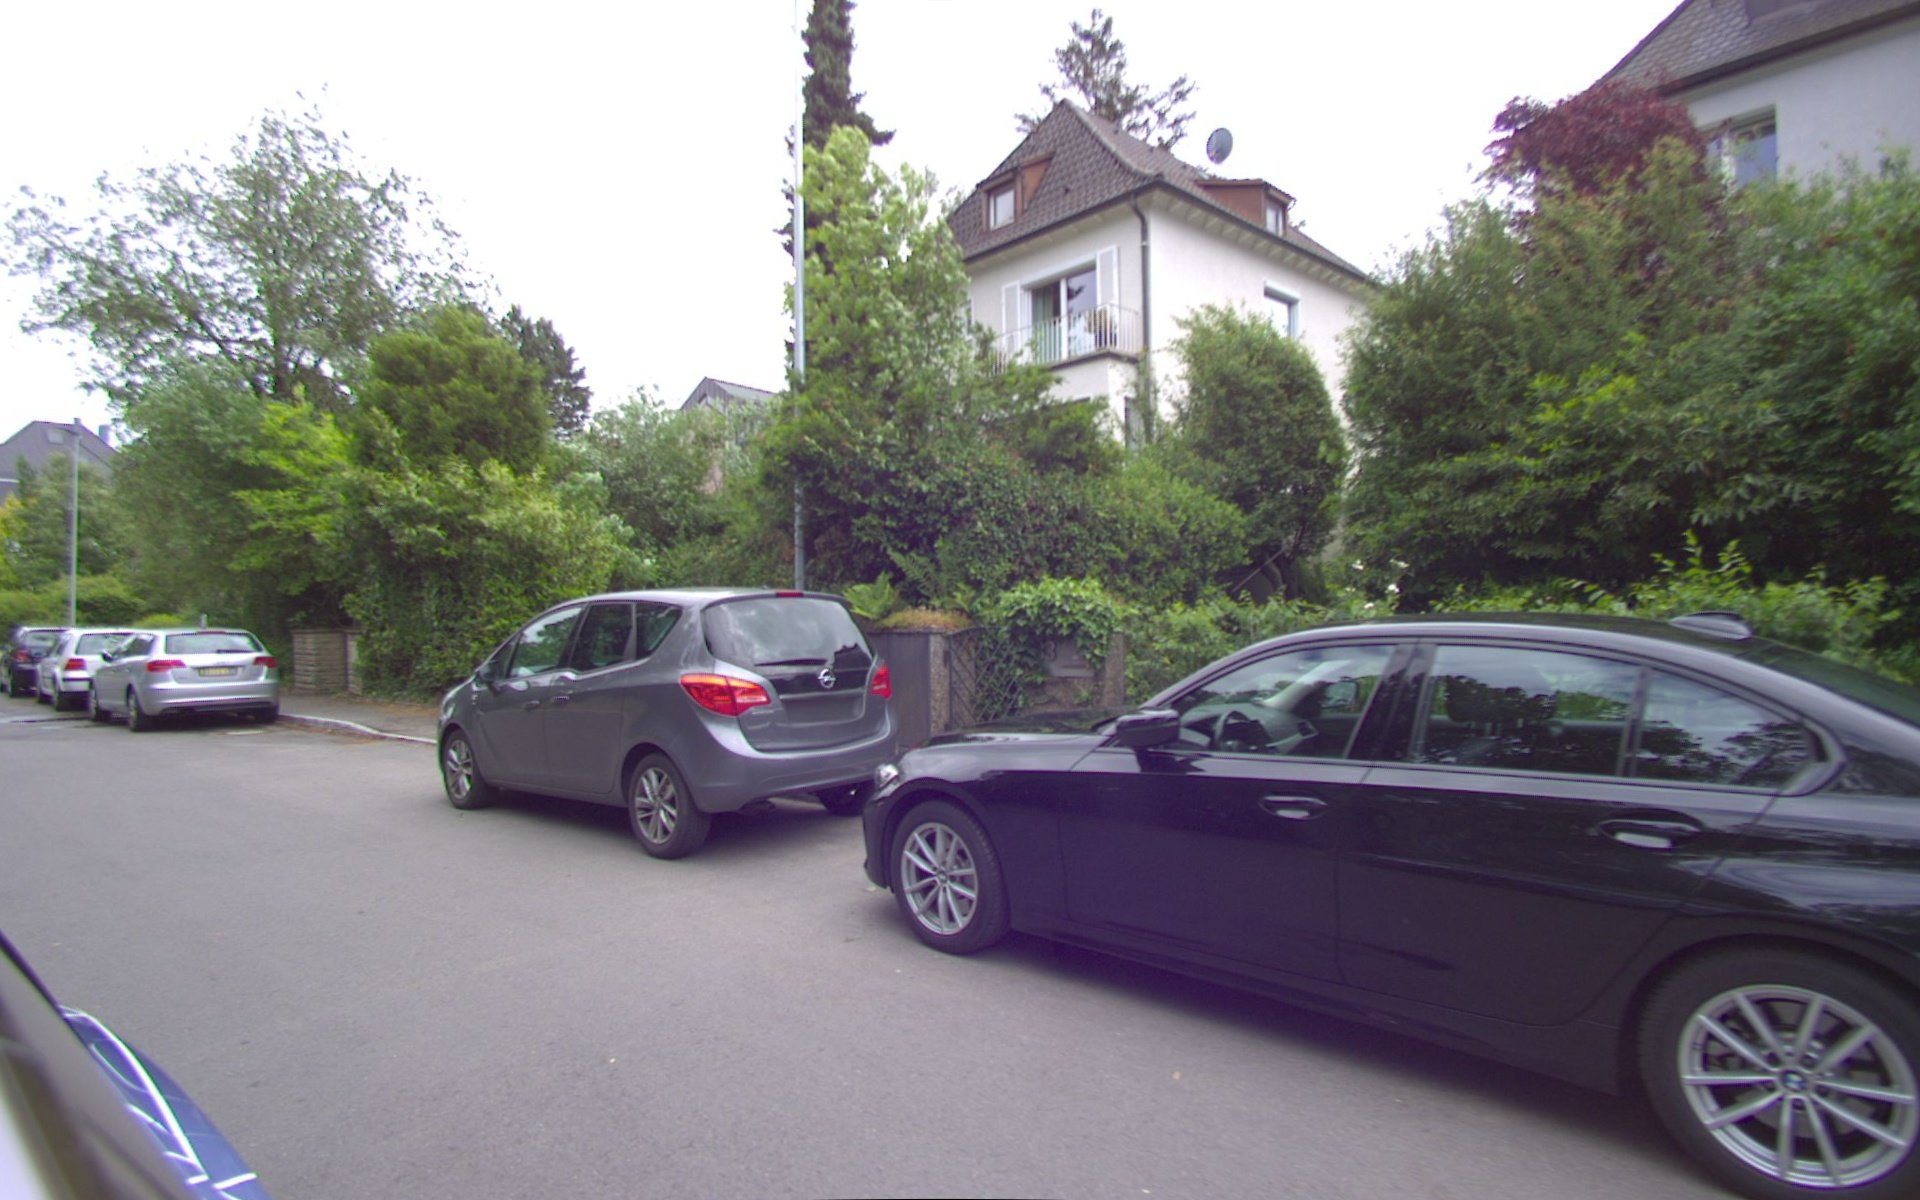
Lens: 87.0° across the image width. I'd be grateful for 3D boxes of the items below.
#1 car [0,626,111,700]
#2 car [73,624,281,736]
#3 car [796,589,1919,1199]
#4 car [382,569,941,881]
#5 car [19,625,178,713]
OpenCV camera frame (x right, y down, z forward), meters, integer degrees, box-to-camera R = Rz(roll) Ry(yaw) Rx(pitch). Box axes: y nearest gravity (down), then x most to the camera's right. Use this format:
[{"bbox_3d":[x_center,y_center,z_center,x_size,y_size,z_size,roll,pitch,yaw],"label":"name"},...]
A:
[{"bbox_3d":[-19.869,1.299,22.005,3.968,1.461,1.605,-2,-2,42],"label":"car"},{"bbox_3d":[-11.851,1.104,15.228,4.089,1.461,1.606,-1,-2,40],"label":"car"},{"bbox_3d":[1.602,0.716,3.799,4.898,1.423,1.735,-2,0,43],"label":"car"},{"bbox_3d":[-2.430,0.692,7.470,4.564,1.644,1.714,-2,0,40],"label":"car"},{"bbox_3d":[-16.236,1.228,18.997,4.379,1.464,1.642,-2,-2,41],"label":"car"}]
